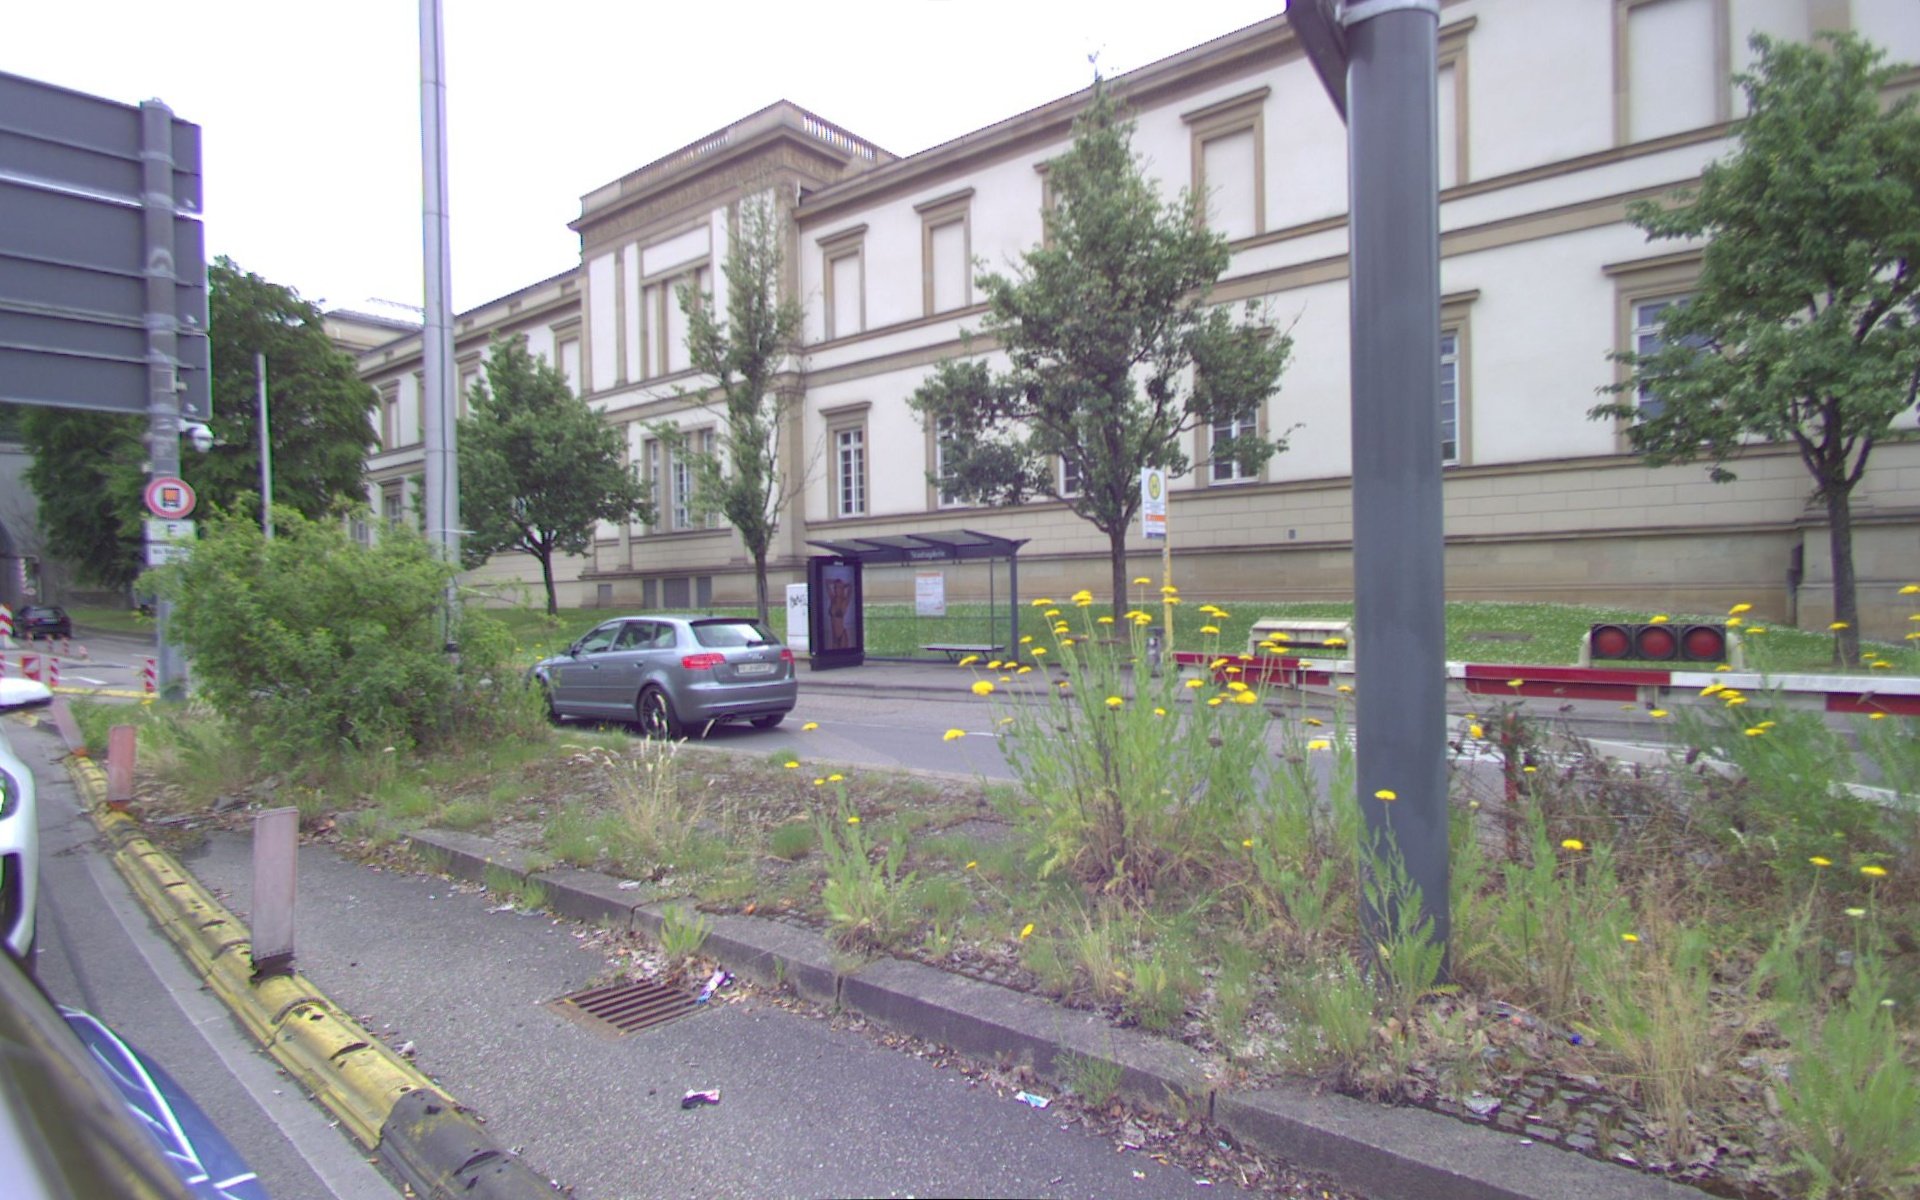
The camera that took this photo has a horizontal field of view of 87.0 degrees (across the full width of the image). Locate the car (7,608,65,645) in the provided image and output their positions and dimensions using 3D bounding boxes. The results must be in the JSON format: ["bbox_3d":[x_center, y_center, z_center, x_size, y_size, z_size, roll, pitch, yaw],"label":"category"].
[{"bbox_3d":[-46.198,1.290,50.585,4.001,1.736,1.920,-1,0,44],"label":"car"}]

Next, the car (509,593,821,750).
[{"bbox_3d":[-3.681,0.761,12.390,3.797,1.630,1.757,-1,0,37],"label":"car"}]

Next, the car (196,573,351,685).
[{"bbox_3d":[-17.243,0.715,25.332,4.758,2.527,2.174,-2,-1,43],"label":"car"}]

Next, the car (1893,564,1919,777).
[{"bbox_3d":[8.198,0.508,5.987,3.552,1.488,1.635,0,2,24],"label":"car"}]

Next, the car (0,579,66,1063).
[{"bbox_3d":[-5.216,0.728,4.091,3.669,1.637,1.962,3,2,41],"label":"car"}]
